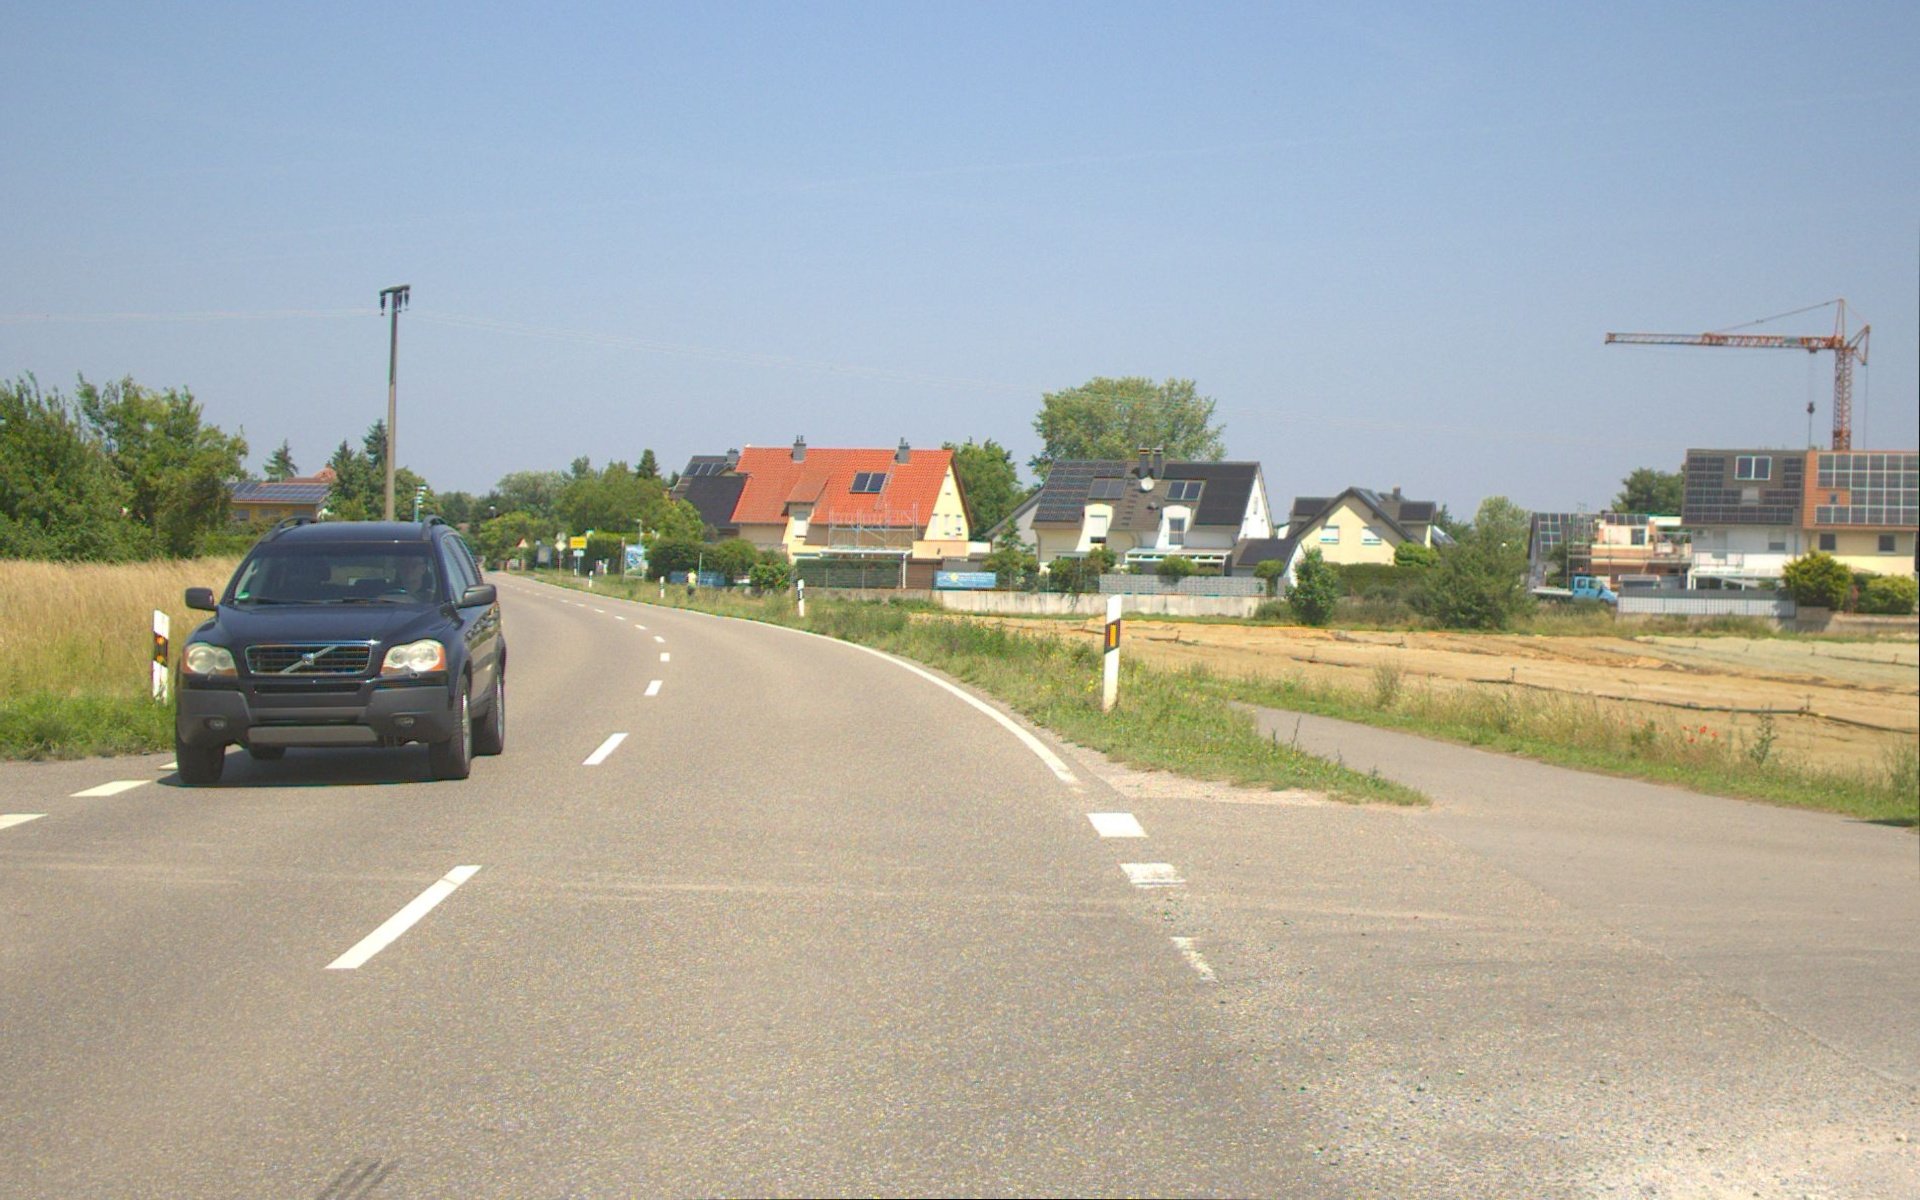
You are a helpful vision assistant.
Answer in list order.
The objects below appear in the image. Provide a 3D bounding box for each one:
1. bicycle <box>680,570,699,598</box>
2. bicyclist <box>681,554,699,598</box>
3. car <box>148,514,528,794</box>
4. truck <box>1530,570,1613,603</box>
[{"bbox_3d":[-12.023,-0.704,152.715,0.610,1.155,2.275,3,1,-10],"label":"bicycle"},{"bbox_3d":[-11.987,-1.073,152.591,0.644,1.883,0.861,3,1,-10],"label":"bicyclist"},{"bbox_3d":[-4.241,0.304,24.255,1.933,1.745,5.204,0,1,-2],"label":"car"},{"bbox_3d":[42.888,-0.972,241.156,5.558,2.222,2.213,1,0,16],"label":"truck"}]
